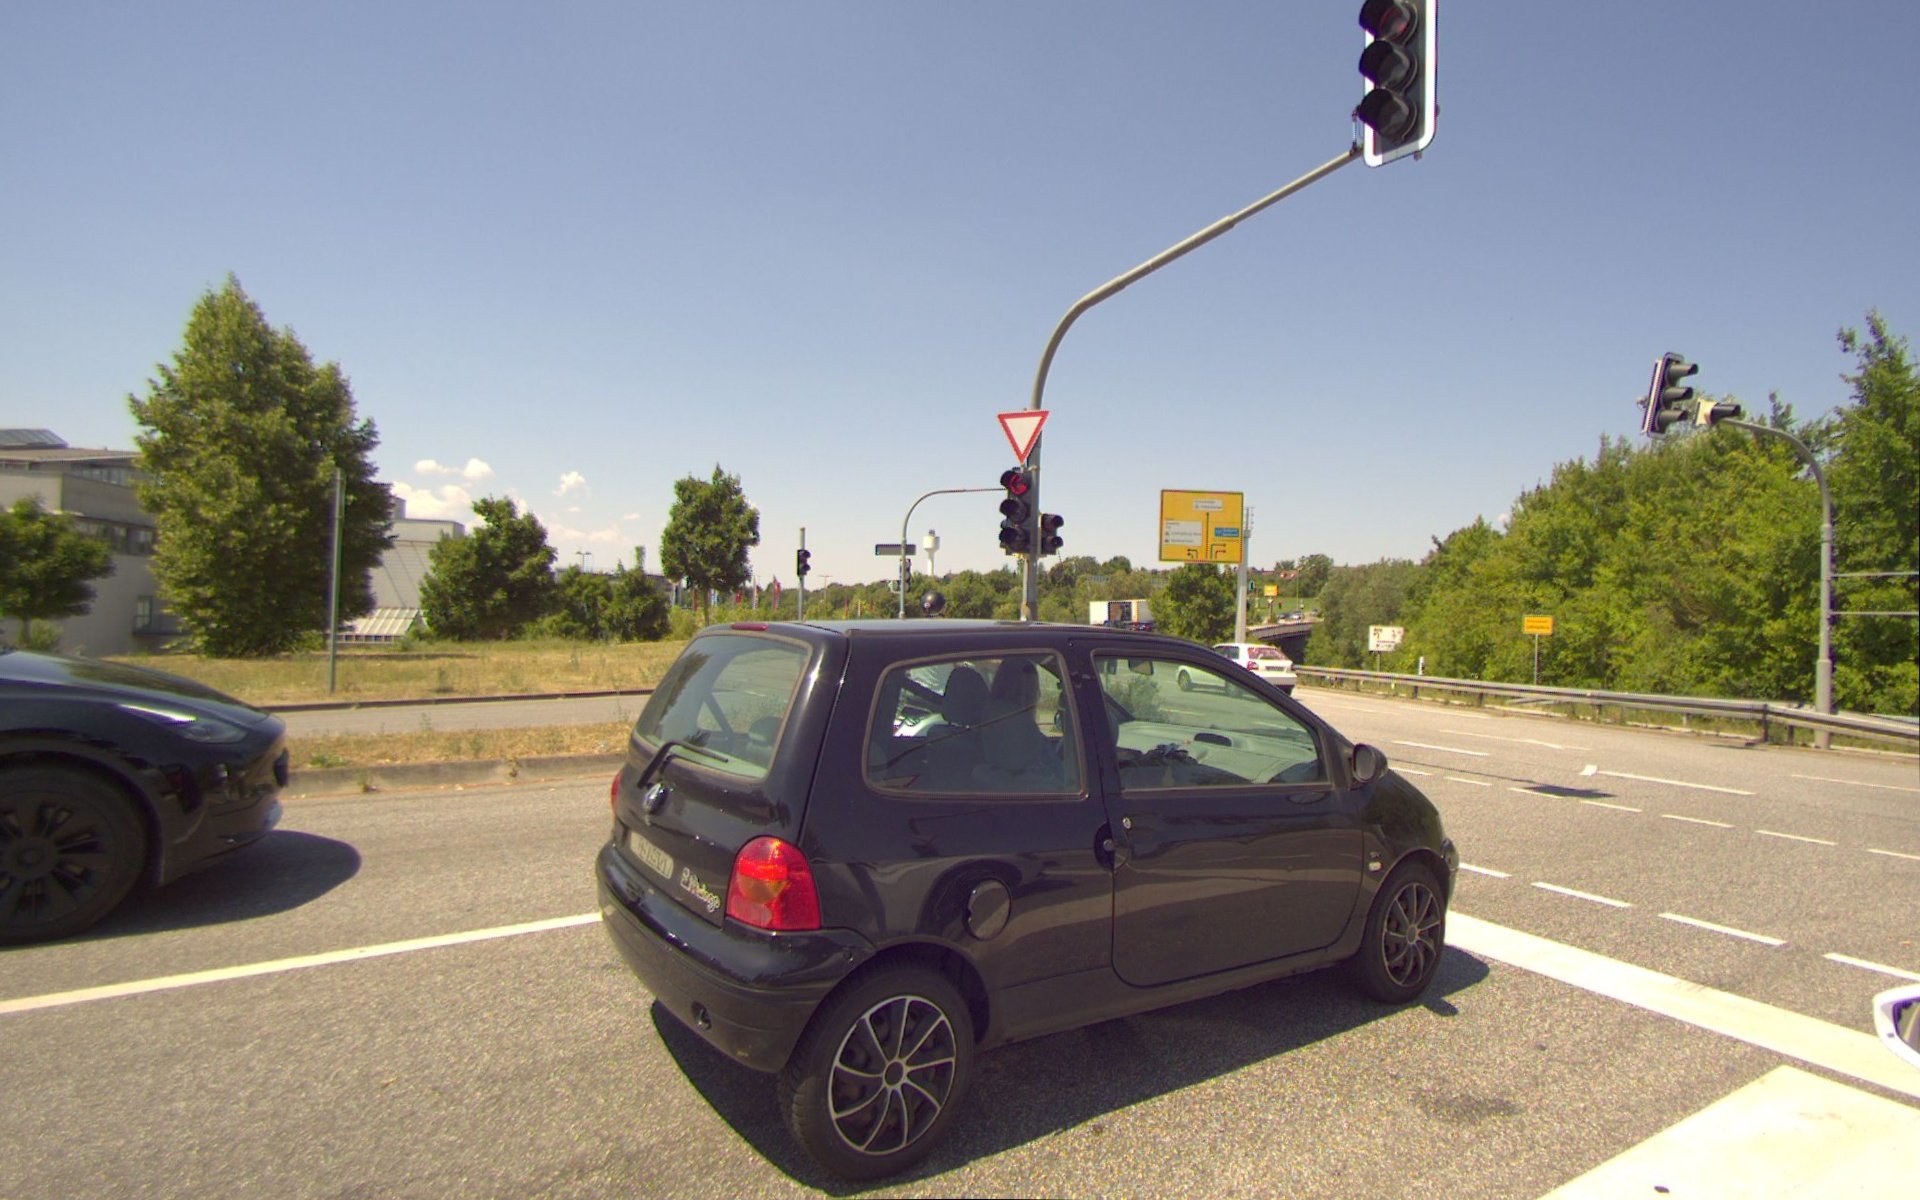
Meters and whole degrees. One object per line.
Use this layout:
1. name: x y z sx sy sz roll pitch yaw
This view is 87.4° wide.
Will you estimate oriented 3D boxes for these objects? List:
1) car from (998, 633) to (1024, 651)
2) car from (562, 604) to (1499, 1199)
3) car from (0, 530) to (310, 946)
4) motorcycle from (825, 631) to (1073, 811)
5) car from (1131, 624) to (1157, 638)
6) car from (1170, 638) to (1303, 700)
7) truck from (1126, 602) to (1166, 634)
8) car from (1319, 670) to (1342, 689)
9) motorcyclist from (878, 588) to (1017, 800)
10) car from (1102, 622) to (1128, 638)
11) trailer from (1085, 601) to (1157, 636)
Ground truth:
1. car: 4.693 3.848 91.557 1.775 1.452 3.932 4 -2 10
2. car: 0.388 0.776 3.828 3.267 1.426 1.609 2 -1 -34
3. car: -5.269 0.496 3.949 4.462 1.622 1.862 2 0 -36
4. motorcycle: -0.051 0.911 7.925 1.921 1.255 0.572 3 -1 -35
5. car: 22.485 3.771 122.522 1.849 1.644 3.993 1 0 29
6. car: 7.627 1.884 28.129 1.621 1.413 3.975 5 -2 -17
7. truck: 25.787 2.415 139.227 3.188 4.305 6.217 1 1 35
8. car: 33.228 7.131 90.147 1.776 1.452 4.415 4 -2 20
9. motorcyclist: -0.098 0.711 7.902 0.838 1.560 0.607 3 0 -34
10. car: 18.933 3.651 122.728 1.851 1.755 3.992 1 0 30
11. trailer: 21.506 2.337 132.925 3.188 4.305 15.359 1 1 34
